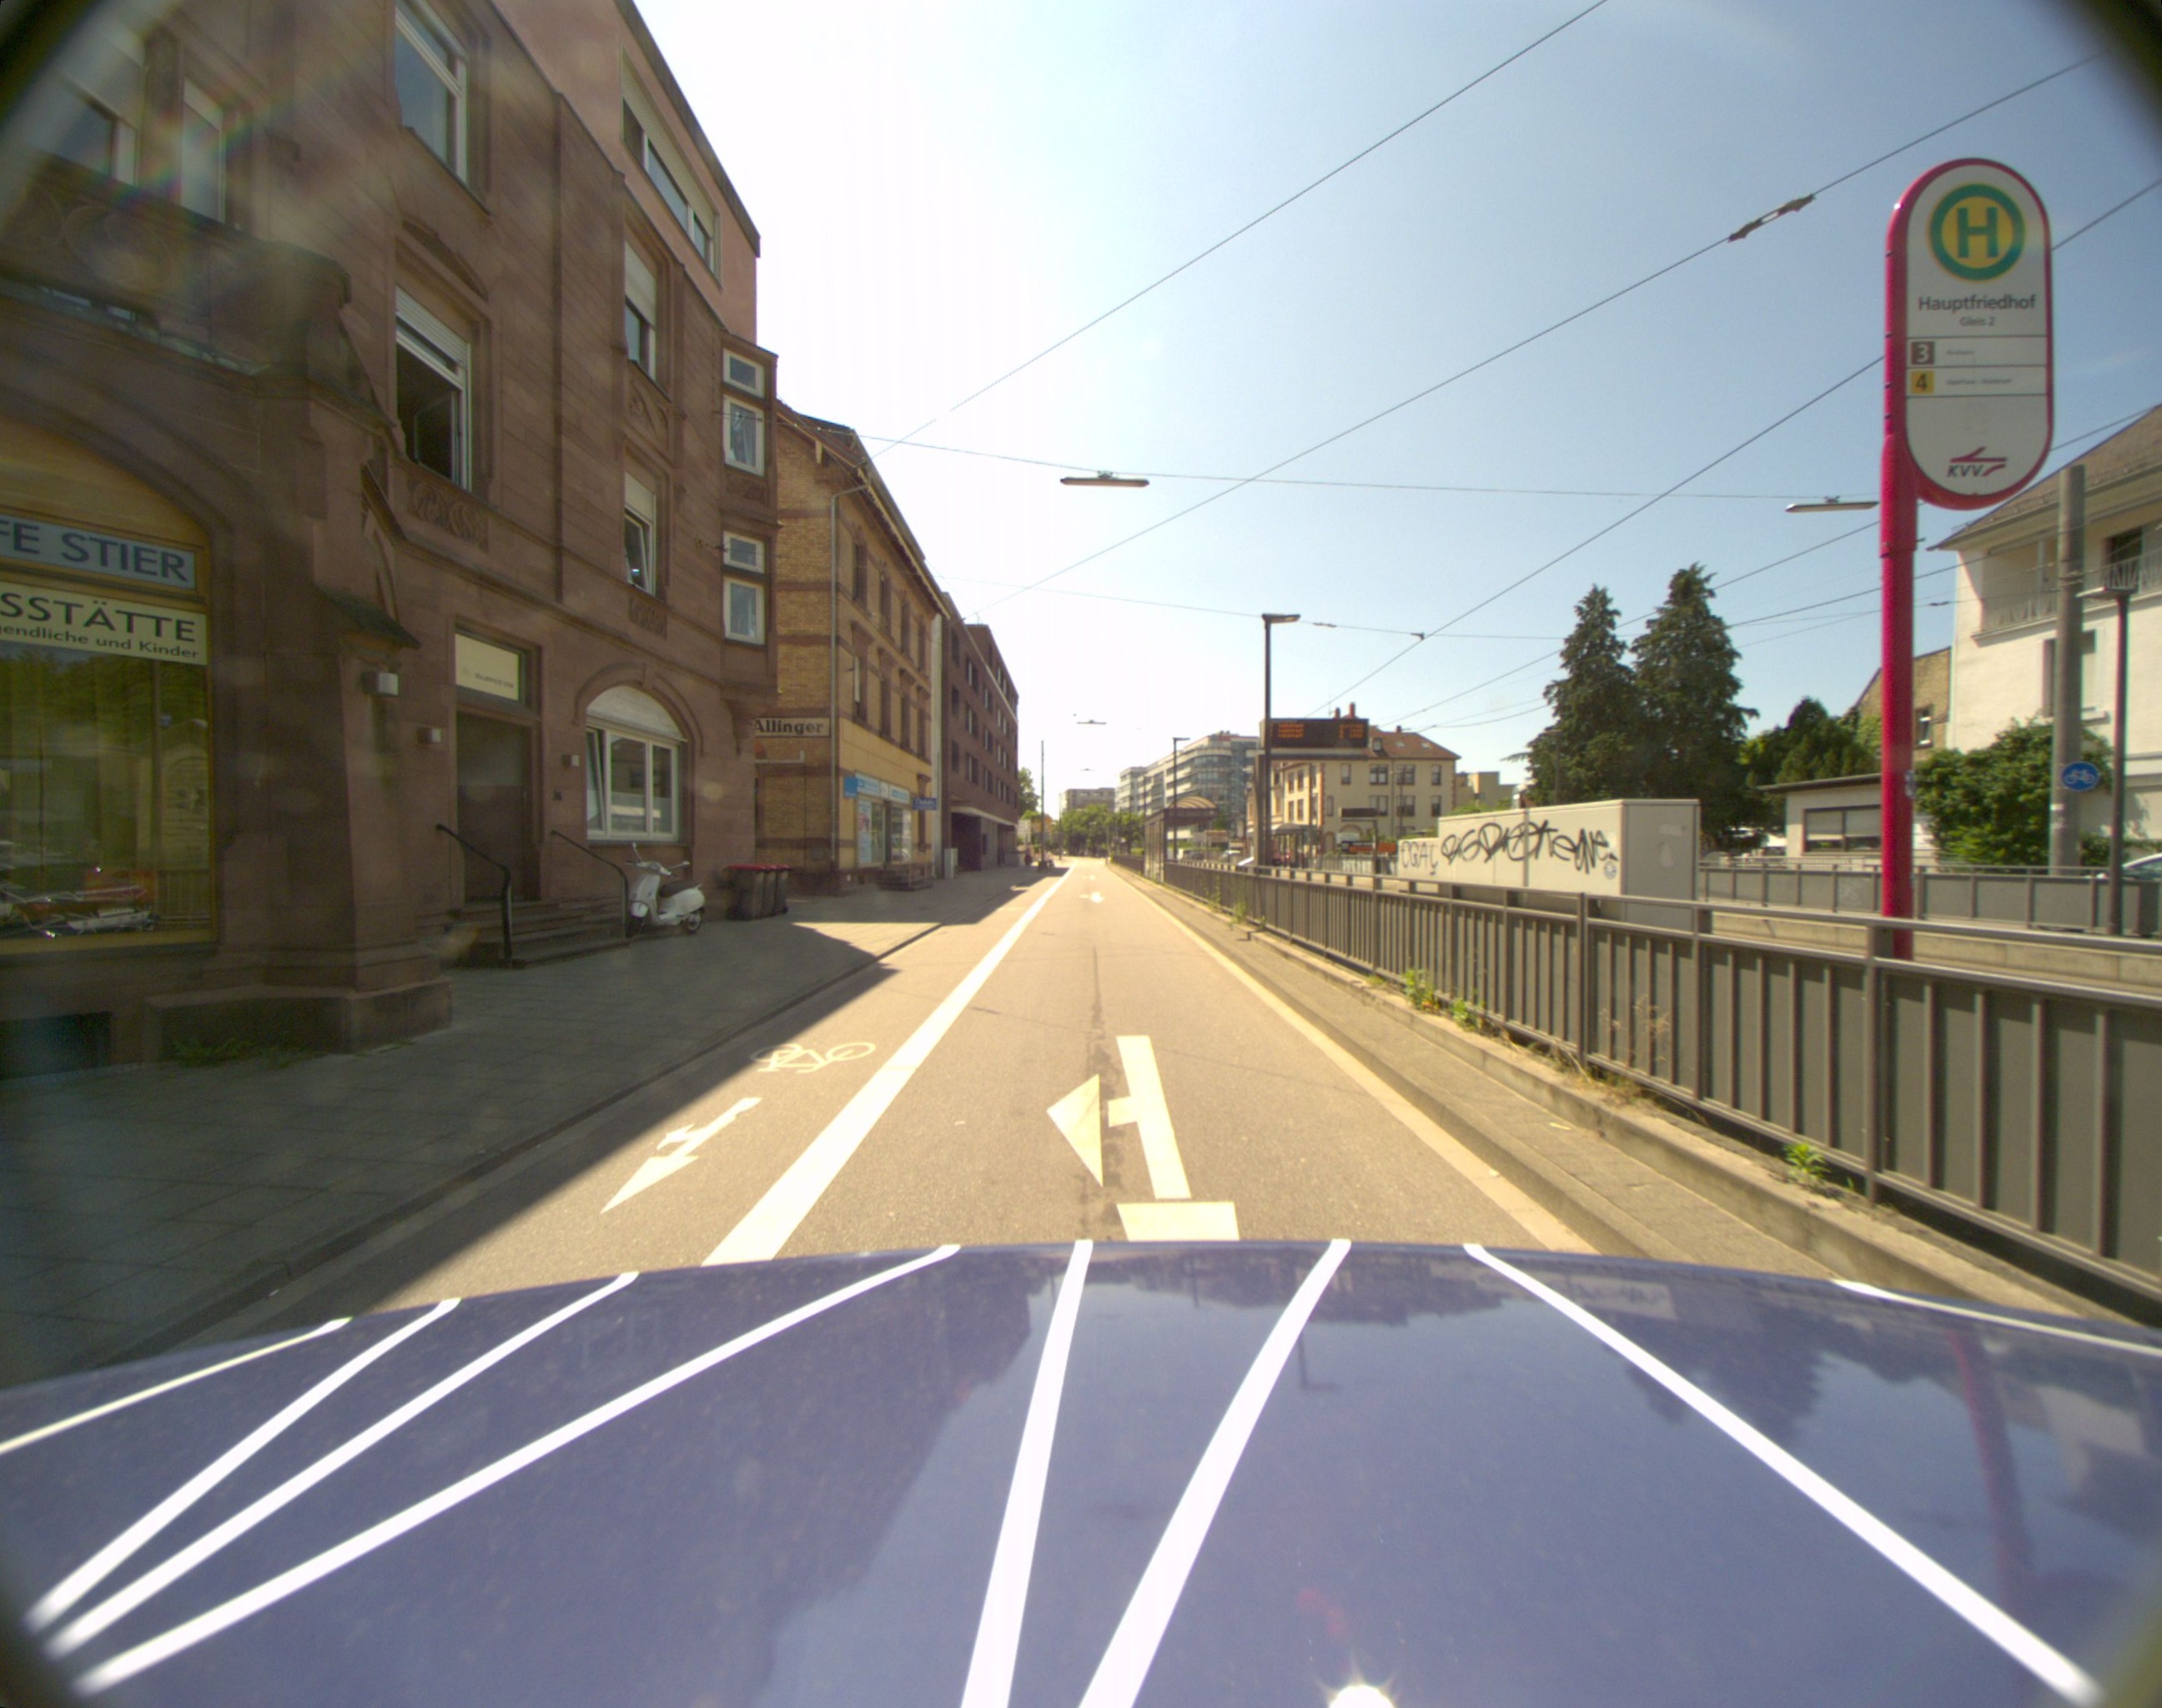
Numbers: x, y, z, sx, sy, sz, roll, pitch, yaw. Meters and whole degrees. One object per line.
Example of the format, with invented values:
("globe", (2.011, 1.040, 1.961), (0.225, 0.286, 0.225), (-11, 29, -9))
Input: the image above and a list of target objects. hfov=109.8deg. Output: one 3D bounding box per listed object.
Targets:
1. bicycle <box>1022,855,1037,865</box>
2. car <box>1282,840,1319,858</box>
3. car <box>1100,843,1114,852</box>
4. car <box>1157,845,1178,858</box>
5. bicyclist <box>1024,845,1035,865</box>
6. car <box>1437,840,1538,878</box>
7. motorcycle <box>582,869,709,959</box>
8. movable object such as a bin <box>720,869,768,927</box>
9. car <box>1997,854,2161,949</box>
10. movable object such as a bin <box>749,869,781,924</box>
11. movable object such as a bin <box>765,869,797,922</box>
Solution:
("bicycle", (-4.519, 0.532, 66.323), (0.689, 0.793, 1.910), (0, 1, 16))
("car", (17.520, -0.382, 60.886), (1.822, 1.388, 4.174), (0, 1, 0))
("car", (5.260, -1.379, 152.801), (2.000, 1.827, 3.996), (0, 1, -9))
("car", (12.326, -0.381, 108.488), (1.862, 1.806, 4.693), (0, 1, -9))
("bicyclist", (-4.500, 0.080, 66.393), (0.670, 1.712, 0.929), (0, 1, 18))
("car", (16.494, 0.177, 31.101), (1.861, 1.433, 4.478), (0, 1, 2))
("motorcycle", (-6.304, 0.818, 11.120), (0.527, 1.142, 1.881), (0, 1, 9))
("movable object such as a bin", (-6.453, 0.832, 14.563), (0.649, 1.042, 0.559), (2, 1, 0))
("car", (16.571, 0.716, 11.008), (1.822, 1.355, 4.052), (1, 1, 4))
("movable object such as a bin", (-6.284, 0.845, 15.138), (0.376, 1.042, 0.559), (2, 1, 0))
("movable object such as a bin", (-6.224, 0.857, 15.787), (0.376, 1.042, 0.657), (2, 1, 0))
